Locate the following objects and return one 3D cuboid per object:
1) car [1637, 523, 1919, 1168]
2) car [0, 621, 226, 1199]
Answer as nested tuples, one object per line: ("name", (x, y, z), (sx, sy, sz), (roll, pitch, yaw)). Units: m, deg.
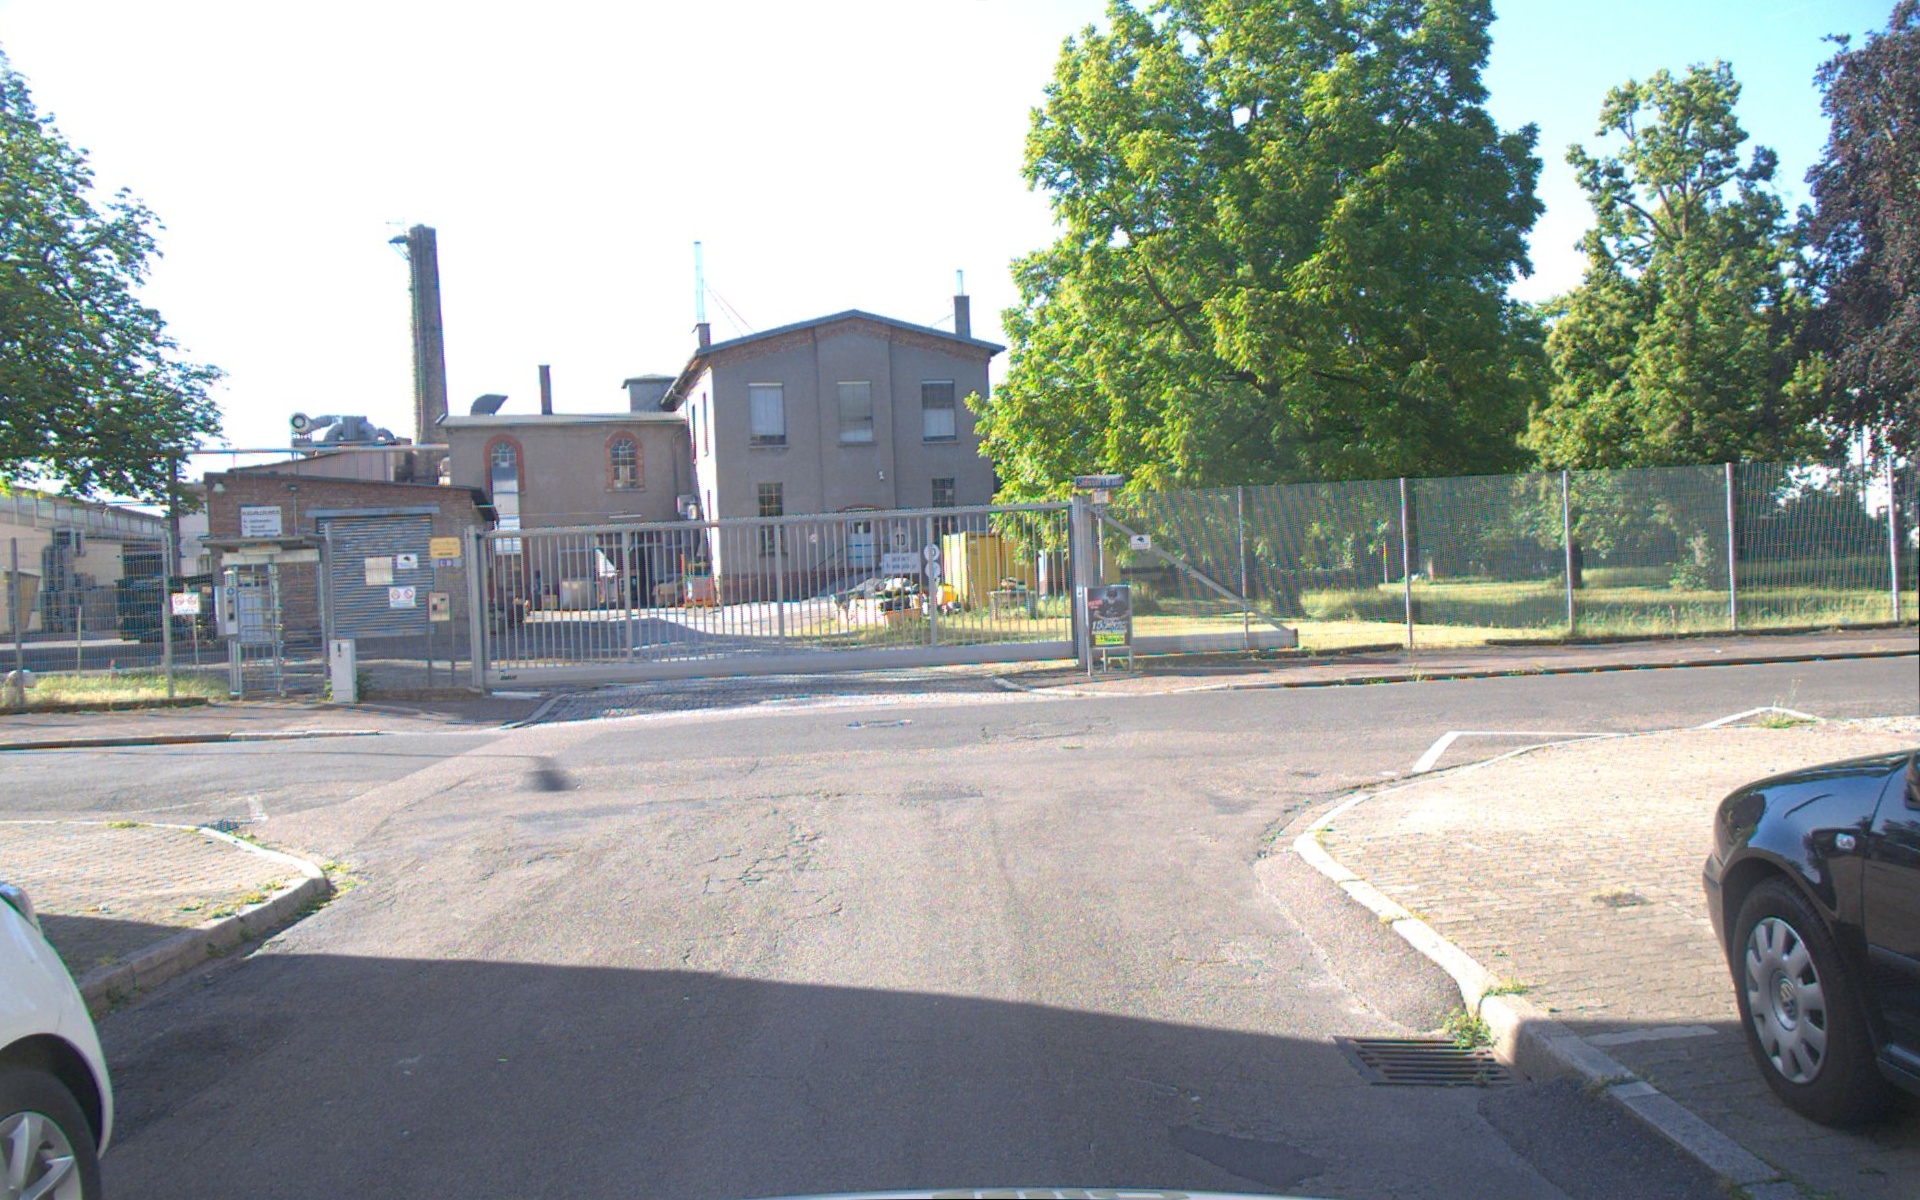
("car", (3.010, 0.501, 3.006), (1.762, 1.439, 4.048), (-5, 1, -1))
("car", (-2.651, 0.879, 2.083), (1.652, 1.484, 3.722), (-4, 1, 1))
